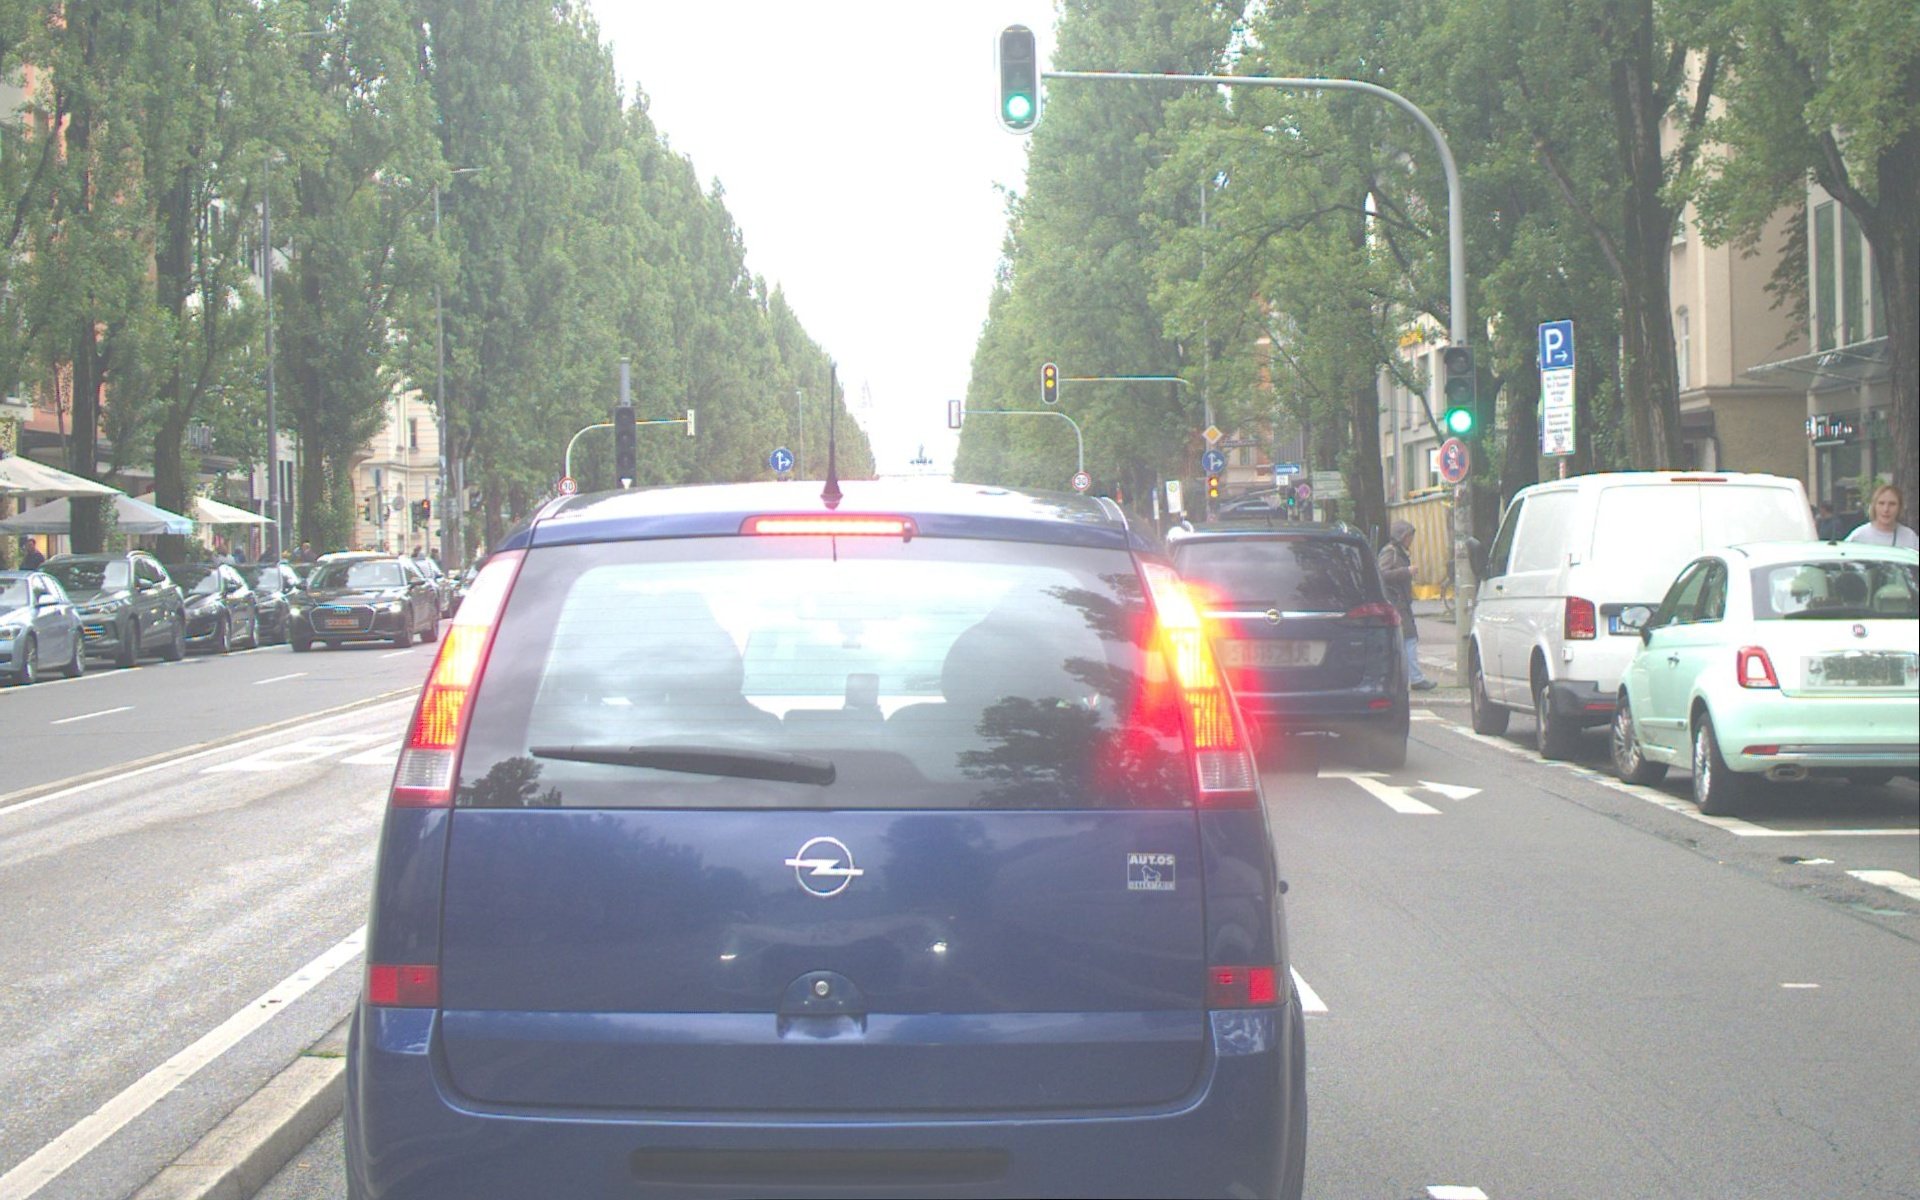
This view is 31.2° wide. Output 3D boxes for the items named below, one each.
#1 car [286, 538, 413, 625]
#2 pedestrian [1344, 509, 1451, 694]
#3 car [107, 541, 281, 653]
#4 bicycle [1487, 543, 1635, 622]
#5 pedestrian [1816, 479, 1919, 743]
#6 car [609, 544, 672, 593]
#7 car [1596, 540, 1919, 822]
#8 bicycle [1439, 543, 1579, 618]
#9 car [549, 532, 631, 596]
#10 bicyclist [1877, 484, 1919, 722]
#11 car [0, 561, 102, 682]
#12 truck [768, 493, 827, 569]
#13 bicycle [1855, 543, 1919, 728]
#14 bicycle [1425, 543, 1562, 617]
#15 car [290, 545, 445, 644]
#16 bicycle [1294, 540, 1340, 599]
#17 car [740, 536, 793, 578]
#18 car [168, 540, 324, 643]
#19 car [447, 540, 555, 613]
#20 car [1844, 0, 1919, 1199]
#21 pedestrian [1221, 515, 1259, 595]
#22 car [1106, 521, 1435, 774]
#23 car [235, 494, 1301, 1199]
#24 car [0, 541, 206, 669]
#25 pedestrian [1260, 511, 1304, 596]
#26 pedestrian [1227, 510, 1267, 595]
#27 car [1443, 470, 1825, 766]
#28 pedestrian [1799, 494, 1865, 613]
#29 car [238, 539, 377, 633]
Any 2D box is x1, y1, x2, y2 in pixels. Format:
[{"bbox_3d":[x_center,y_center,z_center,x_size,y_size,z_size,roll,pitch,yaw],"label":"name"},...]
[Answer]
[{"bbox_3d":[-12.622,-0.412,71.311,1.866,1.660,4.120,-2,1,-1],"label":"car"},{"bbox_3d":[4.040,0.011,31.751,0.859,1.678,0.627,-1,1,-3],"label":"pedestrian"},{"bbox_3d":[-12.352,-0.083,55.680,1.866,1.660,4.120,-2,1,-1],"label":"car"},{"bbox_3d":[9.595,-0.284,54.946,2.227,1.200,0.626,-1,1,-2],"label":"bicycle"},{"bbox_3d":[6.346,0.066,23.488,0.827,1.767,0.870,-1,1,6],"label":"pedestrian"},{"bbox_3d":[-11.267,-1.135,121.337,1.866,1.660,4.120,-1,1,-1],"label":"car"},{"bbox_3d":[4.772,0.400,19.895,1.541,1.487,3.523,0,1,0],"label":"car"},{"bbox_3d":[9.229,-0.329,57.858,2.227,1.200,0.626,-1,1,-2],"label":"bicycle"},{"bbox_3d":[-9.849,-0.980,91.805,1.770,1.629,4.456,-2,1,-1],"label":"car"},{"bbox_3d":[7.397,0.008,25.796,0.767,1.760,0.885,-1,1,-1],"label":"bicyclist"},{"bbox_3d":[-12.265,0.270,43.579,1.733,1.421,4.144,-2,1,-1],"label":"car"},{"bbox_3d":[-7.296,-3.105,155.047,2.383,3.335,7.111,-1,1,-1],"label":"truck"},{"bbox_3d":[7.405,0.249,25.640,0.772,1.344,2.449,-1,1,-1],"label":"bicycle"},{"bbox_3d":[9.187,-0.349,59.236,2.227,1.200,0.626,-1,1,-2],"label":"bicycle"},{"bbox_3d":[-9.584,-0.120,55.887,1.697,1.457,4.713,-2,1,-1],"label":"car"},{"bbox_3d":[8.470,-0.734,81.600,0.772,1.344,2.449,-1,1,-1],"label":"bicycle"},{"bbox_3d":[-7.052,-1.586,125.394,1.735,1.460,3.365,-1,1,-1],"label":"car"},{"bbox_3d":[-12.528,-0.176,60.525,1.866,1.660,4.120,-2,1,-1],"label":"car"},{"bbox_3d":[-9.770,-0.520,73.404,1.745,1.429,4.130,-2,1,-1],"label":"car"},{"bbox_3d":[2.488,0.261,2.222,2.063,2.484,6.730,0,1,0],"label":"car"},{"bbox_3d":[6.402,-1.027,78.628,0.636,1.820,0.888,1,0,-10],"label":"pedestrian"},{"bbox_3d":[2.059,0.263,23.894,1.896,1.616,4.000,0,1,0],"label":"car"},{"bbox_3d":[-0.314,0.576,7.399,1.671,1.563,4.000,0,1,0],"label":"car"},{"bbox_3d":[-12.257,0.033,49.397,1.866,1.660,4.401,-2,1,-1],"label":"car"},{"bbox_3d":[6.962,-1.011,74.422,0.719,1.820,0.888,1,0,-10],"label":"pedestrian"},{"bbox_3d":[6.193,-1.029,74.232,0.636,1.820,0.888,1,0,-10],"label":"pedestrian"},{"bbox_3d":[4.767,0.072,24.966,1.787,1.939,4.731,0,1,-1],"label":"car"},{"bbox_3d":[12.564,-0.667,49.542,0.673,1.680,0.759,-2,0,-5],"label":"pedestrian"},{"bbox_3d":[-12.490,-0.298,66.051,1.866,1.660,4.120,-2,1,-1],"label":"car"}]
